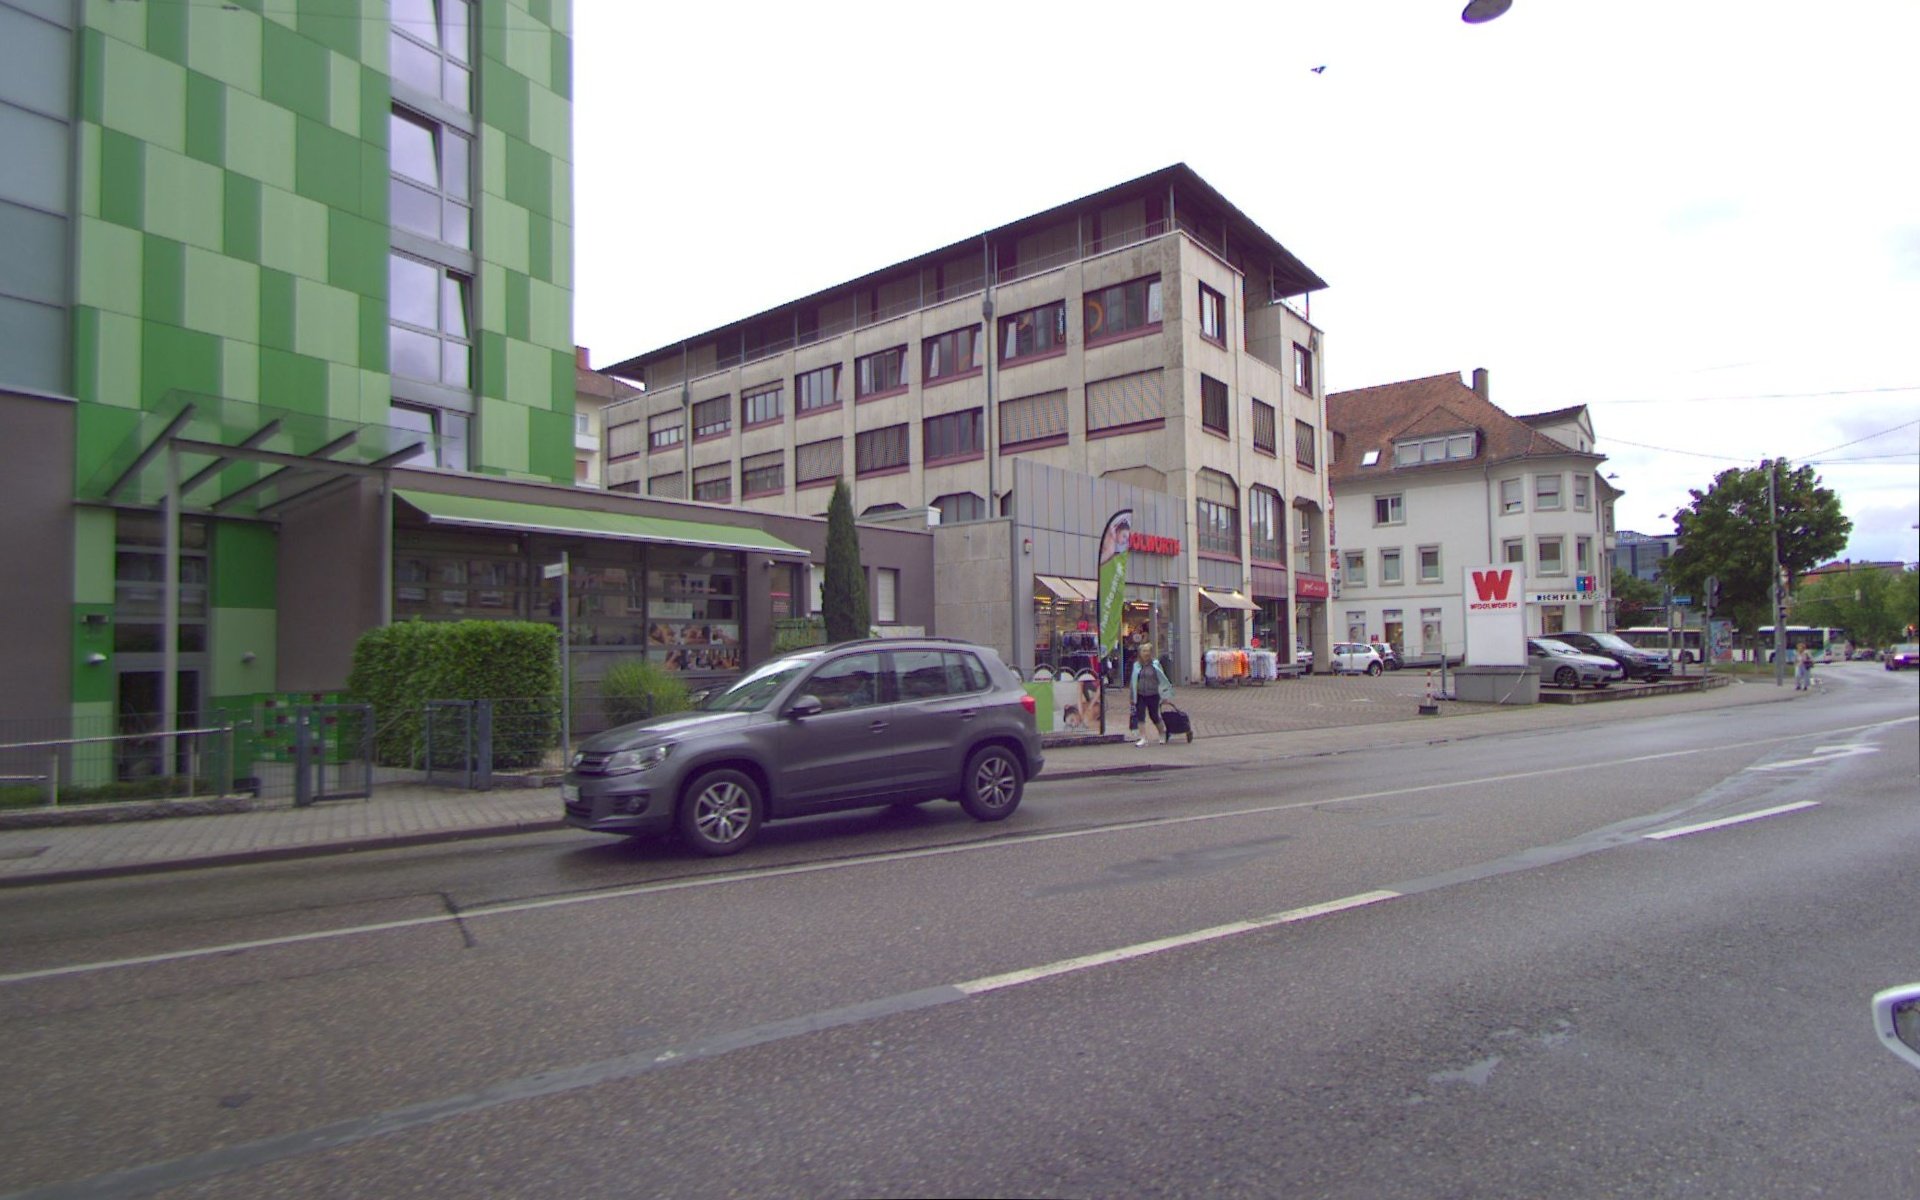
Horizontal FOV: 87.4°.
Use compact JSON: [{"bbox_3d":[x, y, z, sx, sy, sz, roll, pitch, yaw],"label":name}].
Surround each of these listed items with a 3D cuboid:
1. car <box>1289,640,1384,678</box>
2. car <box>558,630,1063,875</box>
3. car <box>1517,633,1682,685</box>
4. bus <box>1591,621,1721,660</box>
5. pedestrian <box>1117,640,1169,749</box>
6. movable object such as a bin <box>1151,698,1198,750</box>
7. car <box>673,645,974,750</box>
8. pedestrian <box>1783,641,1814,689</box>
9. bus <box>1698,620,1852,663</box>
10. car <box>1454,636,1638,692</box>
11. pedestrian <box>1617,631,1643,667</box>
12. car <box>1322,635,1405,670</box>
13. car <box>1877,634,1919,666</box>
[{"bbox_3d":[16.453,2.600,43.910,3.699,1.519,1.578,3,-4,-17],"label":"car"},{"bbox_3d":[-1.263,1.193,9.001,4.017,1.680,1.937,1,-6,-35],"label":"car"},{"bbox_3d":[21.330,1.917,33.706,1.926,1.526,4.408,0,-1,-23],"label":"car"},{"bbox_3d":[60.065,3.559,87.007,2.884,3.146,8.801,0,-3,-30],"label":"bus"},{"bbox_3d":[2.970,1.512,16.274,0.733,1.707,0.755,-2,-3,13],"label":"pedestrian"},{"bbox_3d":[3.541,2.027,16.568,0.718,0.799,0.755,-1,-3,14],"label":"movable object such as a bin"},{"bbox_3d":[-2.265,1.539,16.707,4.588,1.457,1.989,0,-3,-25],"label":"car"},{"bbox_3d":[27.418,2.126,32.861,0.751,1.549,0.506,-1,-2,38],"label":"pedestrian"},{"bbox_3d":[64.146,3.260,79.375,2.879,3.146,9.088,0,-2,-25],"label":"bus"},{"bbox_3d":[17.500,1.869,30.210,1.866,1.546,4.421,1,-3,-33],"label":"car"},{"bbox_3d":[32.442,2.370,48.648,0.949,1.731,0.932,-3,-2,33],"label":"pedestrian"},{"bbox_3d":[22.665,2.963,56.508,3.937,1.839,1.993,-3,-3,37],"label":"car"},{"bbox_3d":[51.977,2.726,55.276,1.821,1.706,3.986,-1,-2,36],"label":"car"}]
